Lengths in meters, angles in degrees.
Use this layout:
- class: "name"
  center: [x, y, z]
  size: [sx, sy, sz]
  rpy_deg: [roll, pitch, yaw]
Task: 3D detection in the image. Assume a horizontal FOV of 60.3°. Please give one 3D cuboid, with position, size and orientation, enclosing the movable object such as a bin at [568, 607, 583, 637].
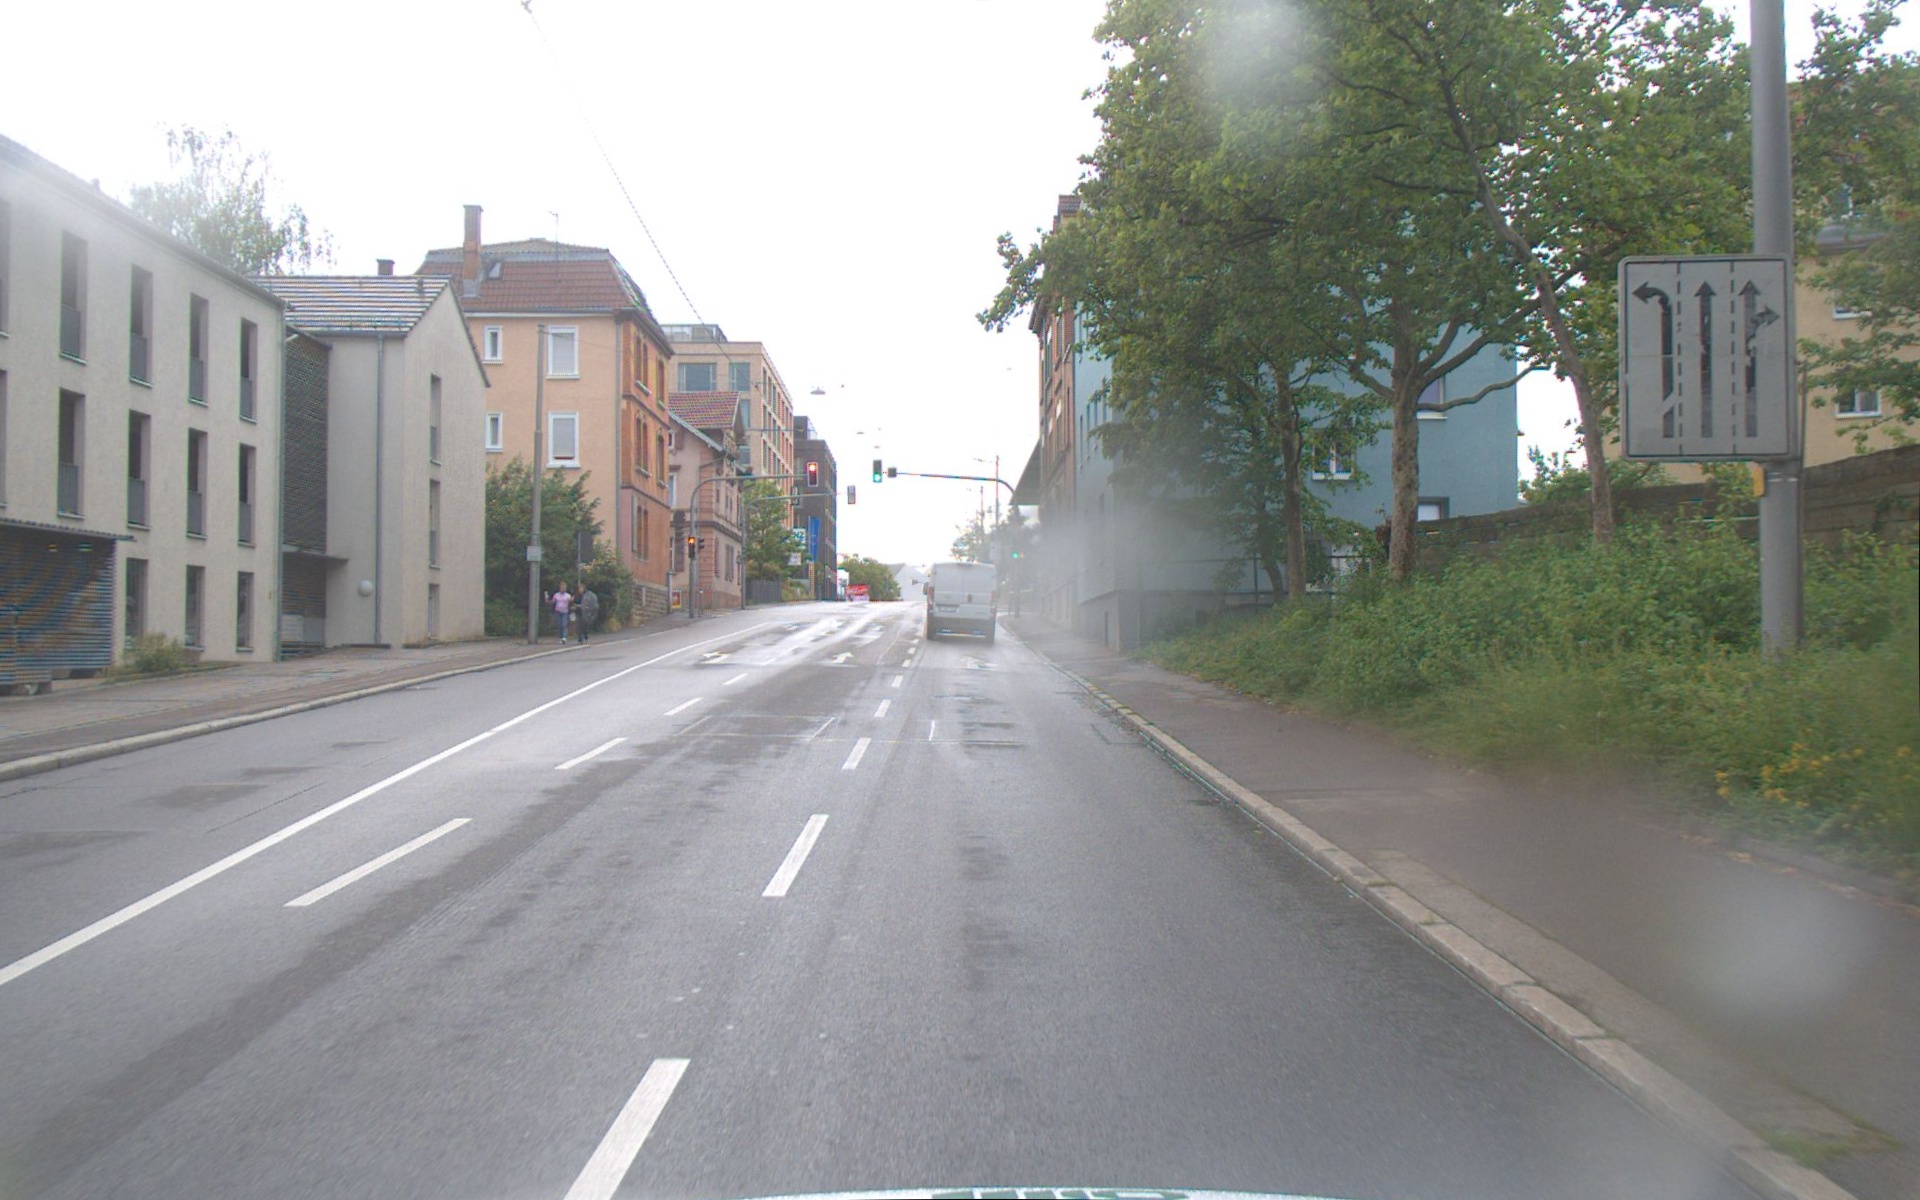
- class: "movable object such as a bin"
  center: [-12.301, 0.695, 52.885]
  size: [0.401, 0.941, 0.525]
  rpy_deg: [1, 0, -7]

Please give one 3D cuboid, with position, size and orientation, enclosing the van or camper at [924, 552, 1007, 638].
- class: "van or camper"
  center: [0.154, -0.133, 49.232]
  size: [2.292, 2.398, 5.199]
  rpy_deg: [1, 0, 0]

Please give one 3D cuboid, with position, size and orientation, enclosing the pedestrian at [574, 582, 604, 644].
- class: "pedestrian"
  center: [-10.539, 0.360, 46.956]
  size: [0.627, 1.736, 0.911]
  rpy_deg: [1, 0, 0]

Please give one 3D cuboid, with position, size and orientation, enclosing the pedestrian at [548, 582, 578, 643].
- class: "pedestrian"
  center: [-11.307, 0.347, 47.085]
  size: [0.627, 1.736, 0.911]
  rpy_deg: [1, 0, 0]
